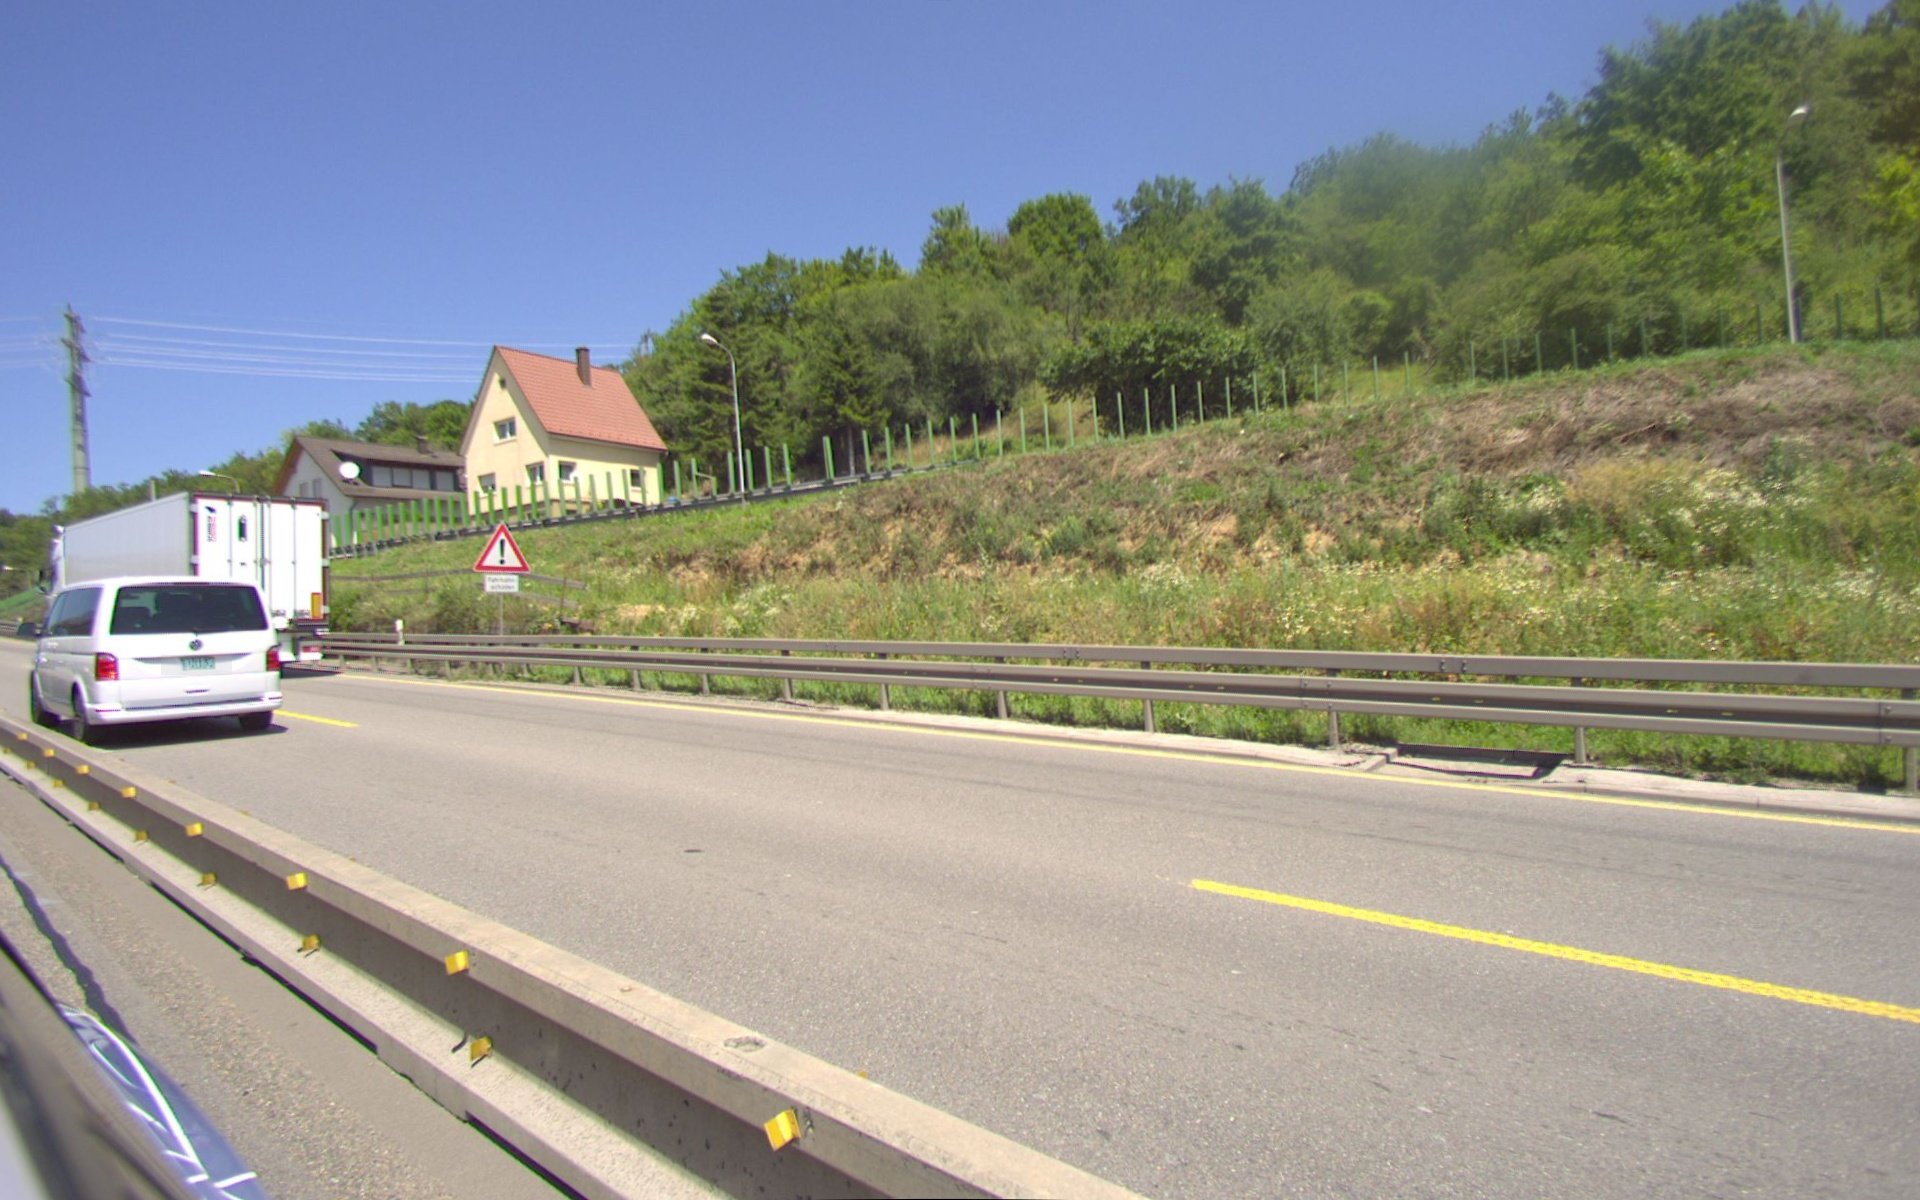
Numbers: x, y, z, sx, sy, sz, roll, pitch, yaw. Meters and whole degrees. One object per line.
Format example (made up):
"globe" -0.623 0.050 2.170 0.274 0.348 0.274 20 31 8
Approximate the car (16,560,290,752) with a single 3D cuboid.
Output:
"car" -10.467 0.583 12.980 4.802 2.029 1.844 0 1 40

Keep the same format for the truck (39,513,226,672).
"truck" -25.000 -0.225 30.473 6.479 4.269 3.149 0 1 40

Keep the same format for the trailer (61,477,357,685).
"trailer" -19.722 -0.286 25.953 13.398 4.190 3.188 -1 -1 41
